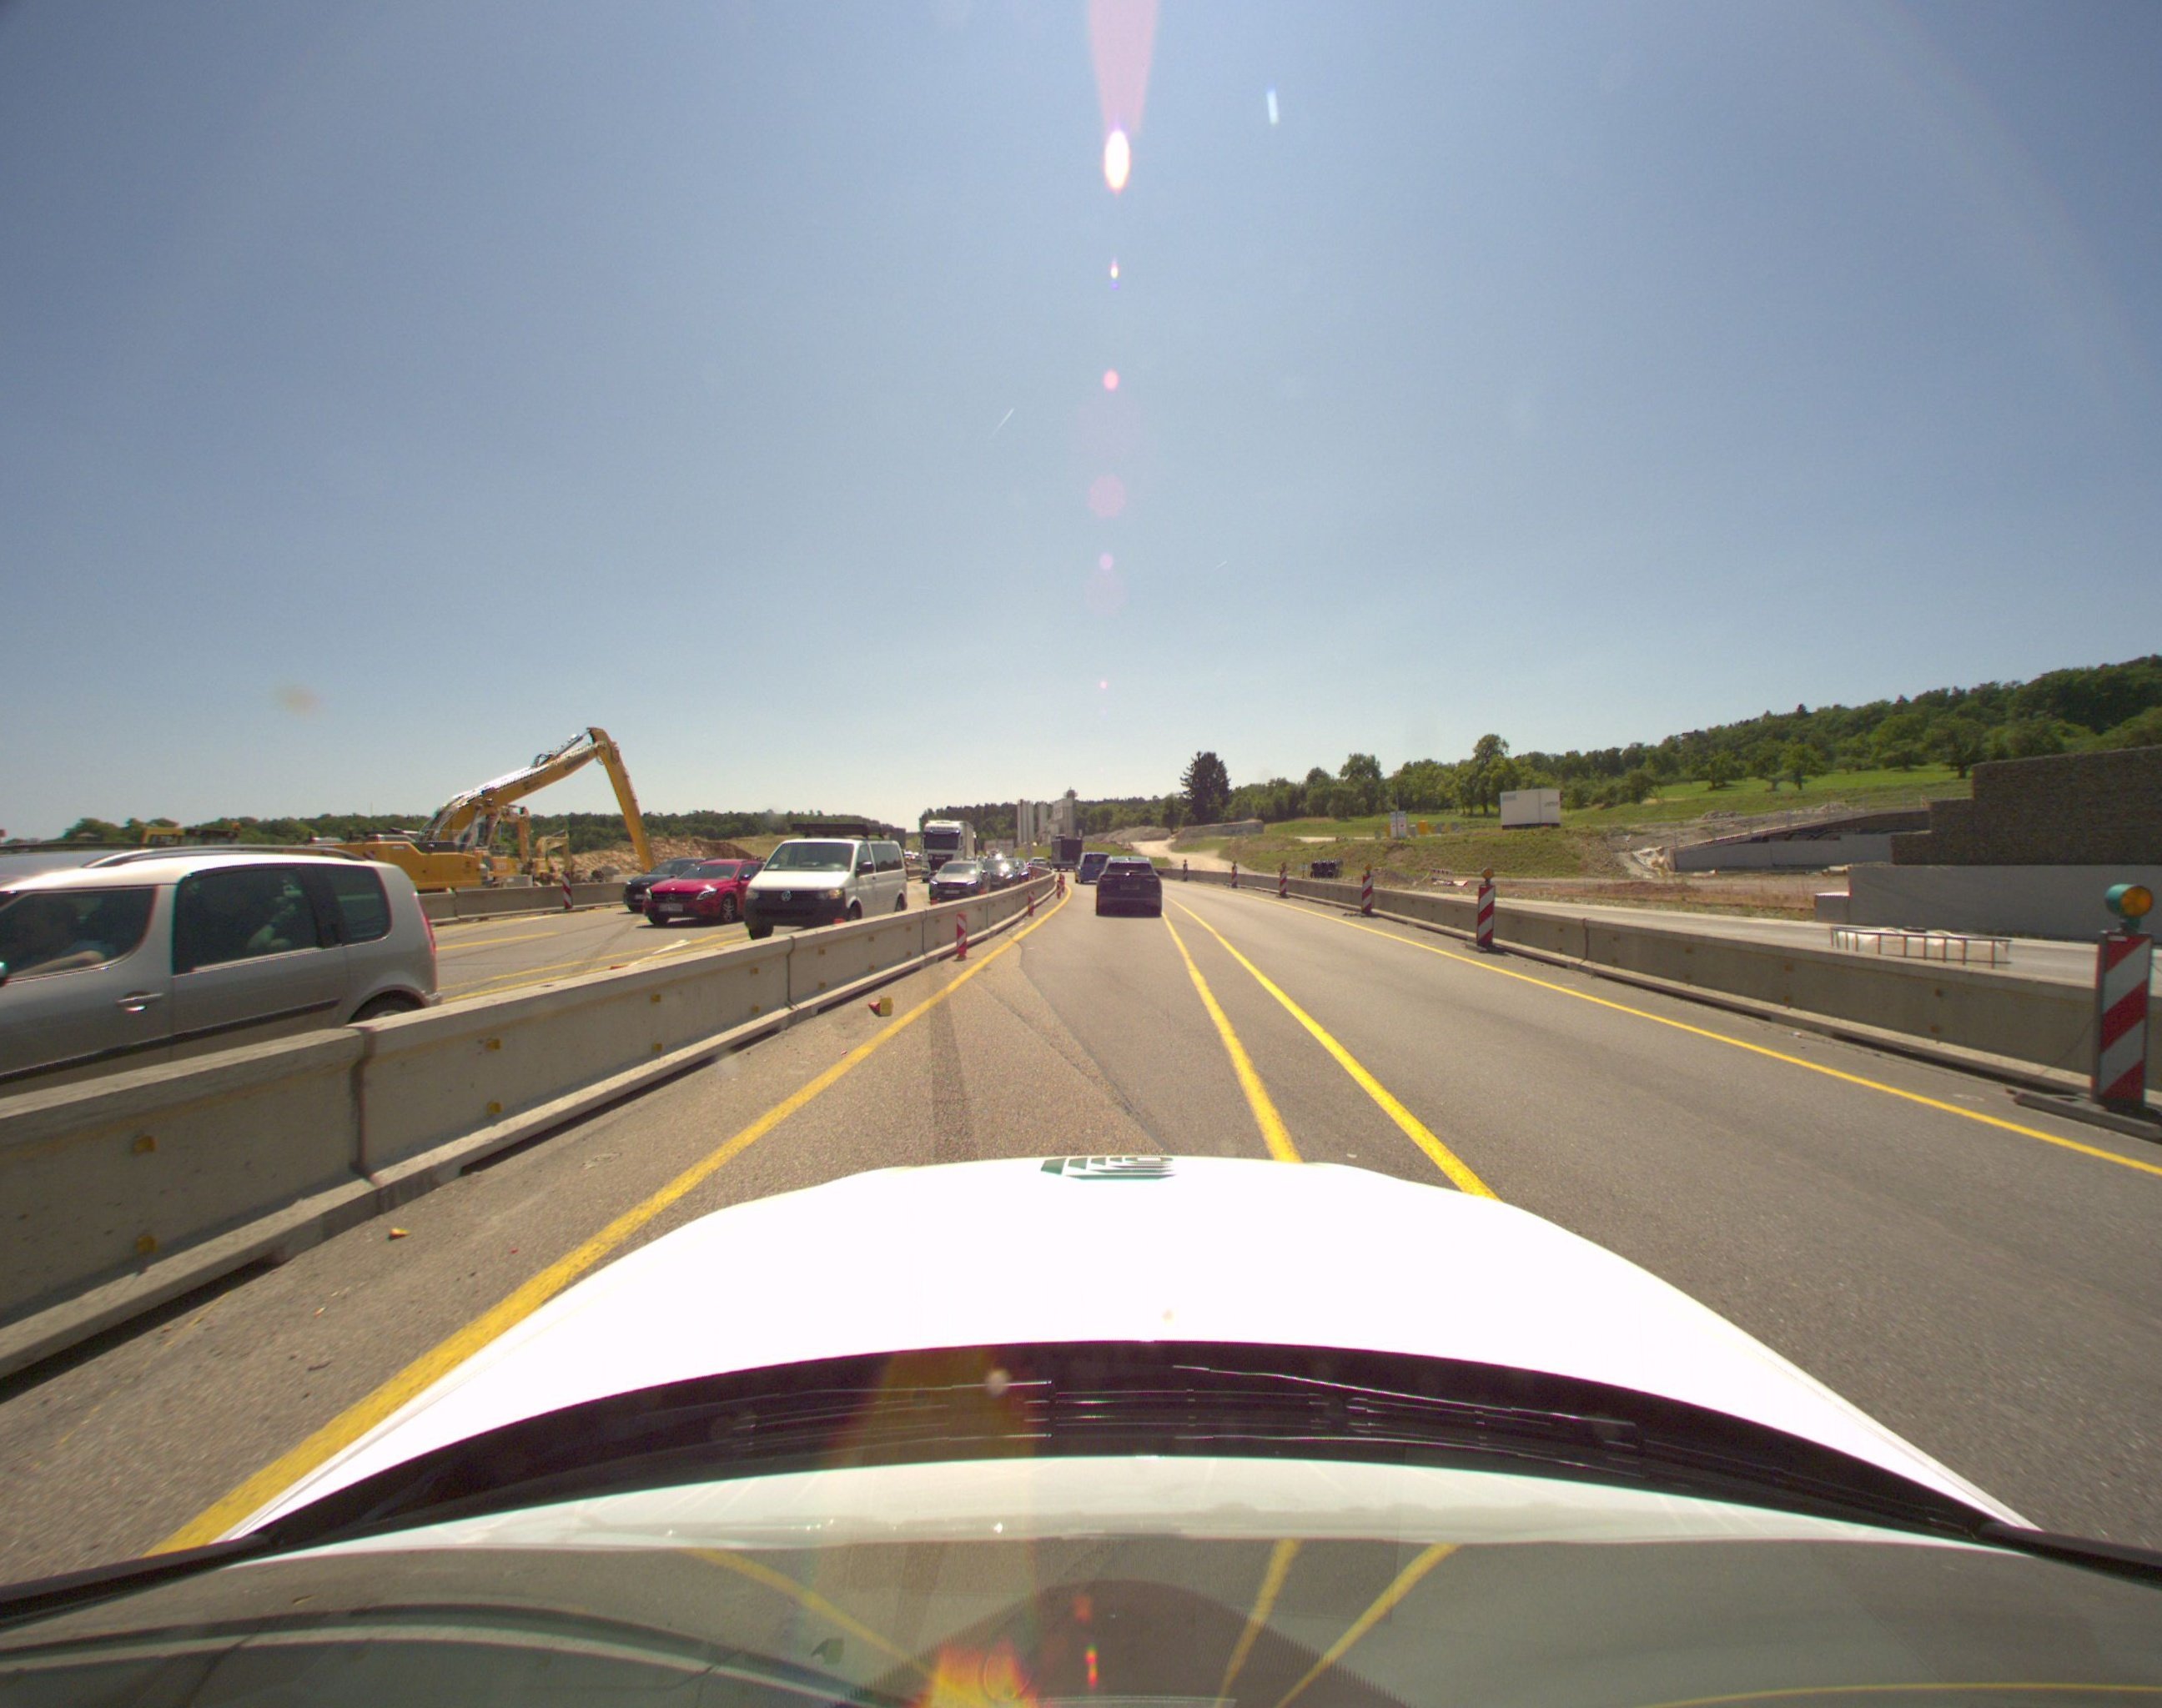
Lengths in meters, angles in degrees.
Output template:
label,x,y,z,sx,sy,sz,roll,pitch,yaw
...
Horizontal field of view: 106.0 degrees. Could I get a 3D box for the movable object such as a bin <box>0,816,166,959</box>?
label,x,y,z,sx,sy,sz,roll,pitch,yaw
movable object such as a bin,-21.969,0.484,15.324,7.836,2.432,3.738,1,0,21

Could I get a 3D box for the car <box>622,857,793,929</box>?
label,x,y,z,sx,sy,sz,roll,pitch,yaw
car,-8.911,0.853,19.969,1.986,1.501,4.655,0,0,1

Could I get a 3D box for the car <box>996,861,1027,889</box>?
label,x,y,z,sx,sy,sz,roll,pitch,yaw
car,-3.886,1.129,45.937,1.652,1.453,4.243,0,0,-4

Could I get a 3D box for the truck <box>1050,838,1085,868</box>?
label,x,y,z,sx,sy,sz,roll,pitch,yaw
truck,-1.449,-0.081,84.587,2.673,2.945,5.601,-2,0,-10

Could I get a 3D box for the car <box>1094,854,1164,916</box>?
label,x,y,z,sx,sy,sz,roll,pitch,yaw
car,1.310,0.826,23.598,1.836,1.582,4.001,1,0,1

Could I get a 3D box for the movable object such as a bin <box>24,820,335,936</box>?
label,x,y,z,sx,sy,sz,roll,pitch,yaw
movable object such as a bin,-23.903,0.551,21.730,6.010,2.763,2.821,1,0,11

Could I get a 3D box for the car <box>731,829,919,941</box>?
label,x,y,z,sx,sy,sz,roll,pitch,yaw
car,-4.871,0.517,16.408,1.864,1.873,5.063,1,0,3

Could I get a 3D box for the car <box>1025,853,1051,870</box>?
label,x,y,z,sx,sy,sz,roll,pitch,yaw
car,-4.380,0.724,82.220,2.045,1.526,5.050,-2,1,-9

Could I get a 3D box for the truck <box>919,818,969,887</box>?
label,x,y,z,sx,sy,sz,roll,pitch,yaw
truck,-8.939,-0.121,53.669,2.767,4.259,6.186,-1,0,-6

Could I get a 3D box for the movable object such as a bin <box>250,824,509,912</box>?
label,x,y,z,sx,sy,sz,roll,pitch,yaw
movable object such as a bin,-21.926,0.386,25.935,3.277,2.440,5.446,1,0,4

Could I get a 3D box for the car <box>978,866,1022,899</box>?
label,x,y,z,sx,sy,sz,roll,pitch,yaw
car,-3.728,1.275,37.843,1.721,1.408,4.127,0,0,-1

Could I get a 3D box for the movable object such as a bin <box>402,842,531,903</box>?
label,x,y,z,sx,sy,sz,roll,pitch,yaw
movable object such as a bin,-34.566,0.952,46.111,3.662,3.025,4.980,-2,2,-8

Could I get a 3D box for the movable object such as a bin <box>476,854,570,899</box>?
label,x,y,z,sx,sy,sz,roll,pitch,yaw
movable object such as a bin,-43.339,1.659,63.533,3.846,3.049,5.991,-3,2,-12

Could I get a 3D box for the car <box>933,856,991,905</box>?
label,x,y,z,sx,sy,sz,roll,pitch,yaw
car,-4.237,0.898,29.538,1.505,1.604,3.952,1,0,0

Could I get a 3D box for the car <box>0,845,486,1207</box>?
label,x,y,z,sx,sy,sz,roll,pitch,yaw
car,-5.649,0.763,4.203,1.748,1.616,4.235,0,0,6

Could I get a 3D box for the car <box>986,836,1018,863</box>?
label,x,y,z,sx,sy,sz,roll,pitch,yaw
car,-12.596,-0.693,129.072,3.443,4.101,9.147,2,0,-16

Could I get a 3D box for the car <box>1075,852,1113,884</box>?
label,x,y,z,sx,sy,sz,roll,pitch,yaw
car,0.748,0.818,49.798,1.989,1.844,3.995,-1,1,-4

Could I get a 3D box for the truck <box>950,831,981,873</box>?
label,x,y,z,sx,sy,sz,roll,pitch,yaw
truck,-11.545,-0.202,80.851,2.701,3.969,6.175,-1,0,-11

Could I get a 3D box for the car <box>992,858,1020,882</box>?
label,x,y,z,sx,sy,sz,roll,pitch,yaw
car,-4.874,1.012,52.693,1.676,1.444,4.542,0,0,-7
